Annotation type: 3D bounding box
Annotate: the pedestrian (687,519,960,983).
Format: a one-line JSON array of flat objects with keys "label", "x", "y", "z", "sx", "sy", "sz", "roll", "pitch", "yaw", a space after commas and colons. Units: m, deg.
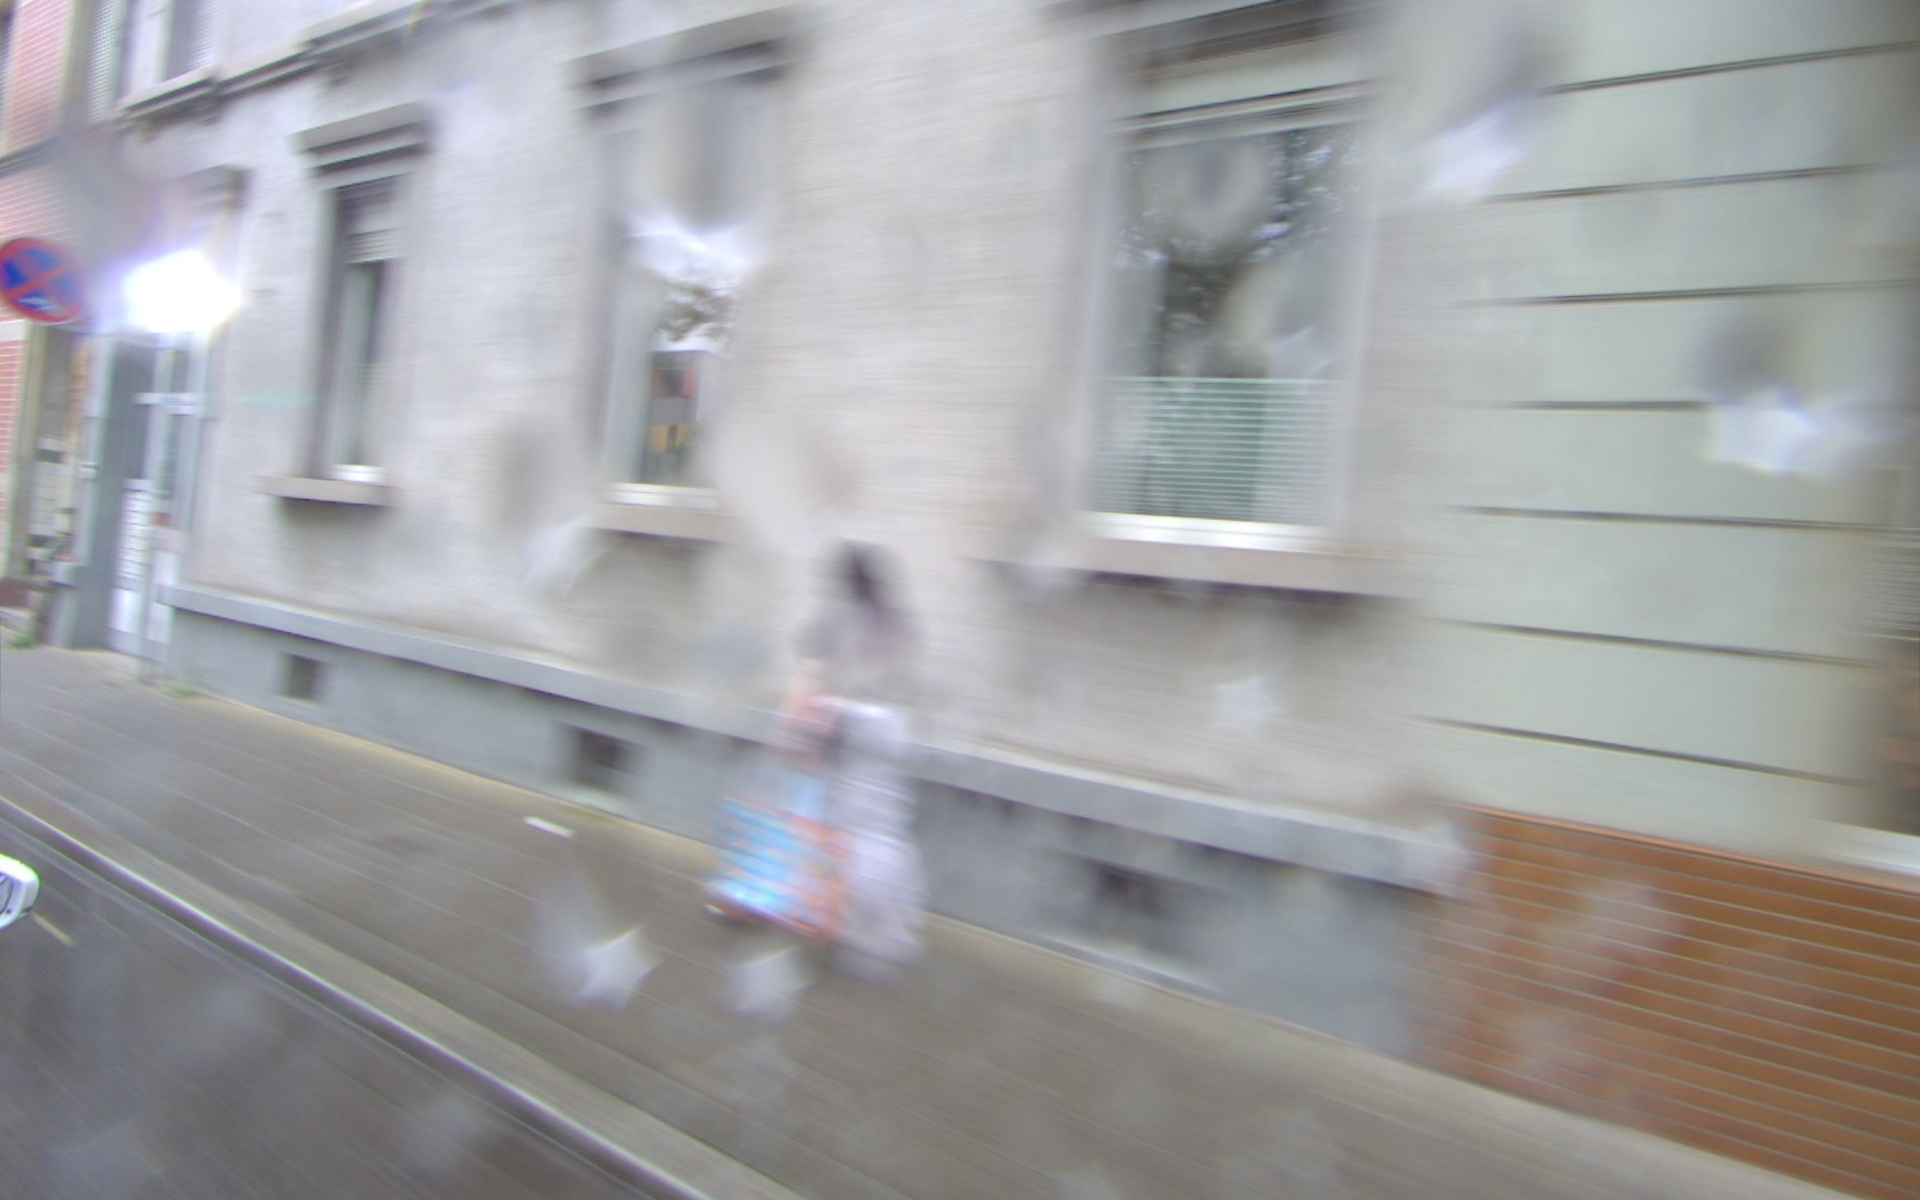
[{"label": "pedestrian", "x": -0.521, "y": 0.523, "z": 3.990, "sx": 0.567, "sy": 1.596, "sz": 0.847, "roll": 7, "pitch": 5, "yaw": 31}]
